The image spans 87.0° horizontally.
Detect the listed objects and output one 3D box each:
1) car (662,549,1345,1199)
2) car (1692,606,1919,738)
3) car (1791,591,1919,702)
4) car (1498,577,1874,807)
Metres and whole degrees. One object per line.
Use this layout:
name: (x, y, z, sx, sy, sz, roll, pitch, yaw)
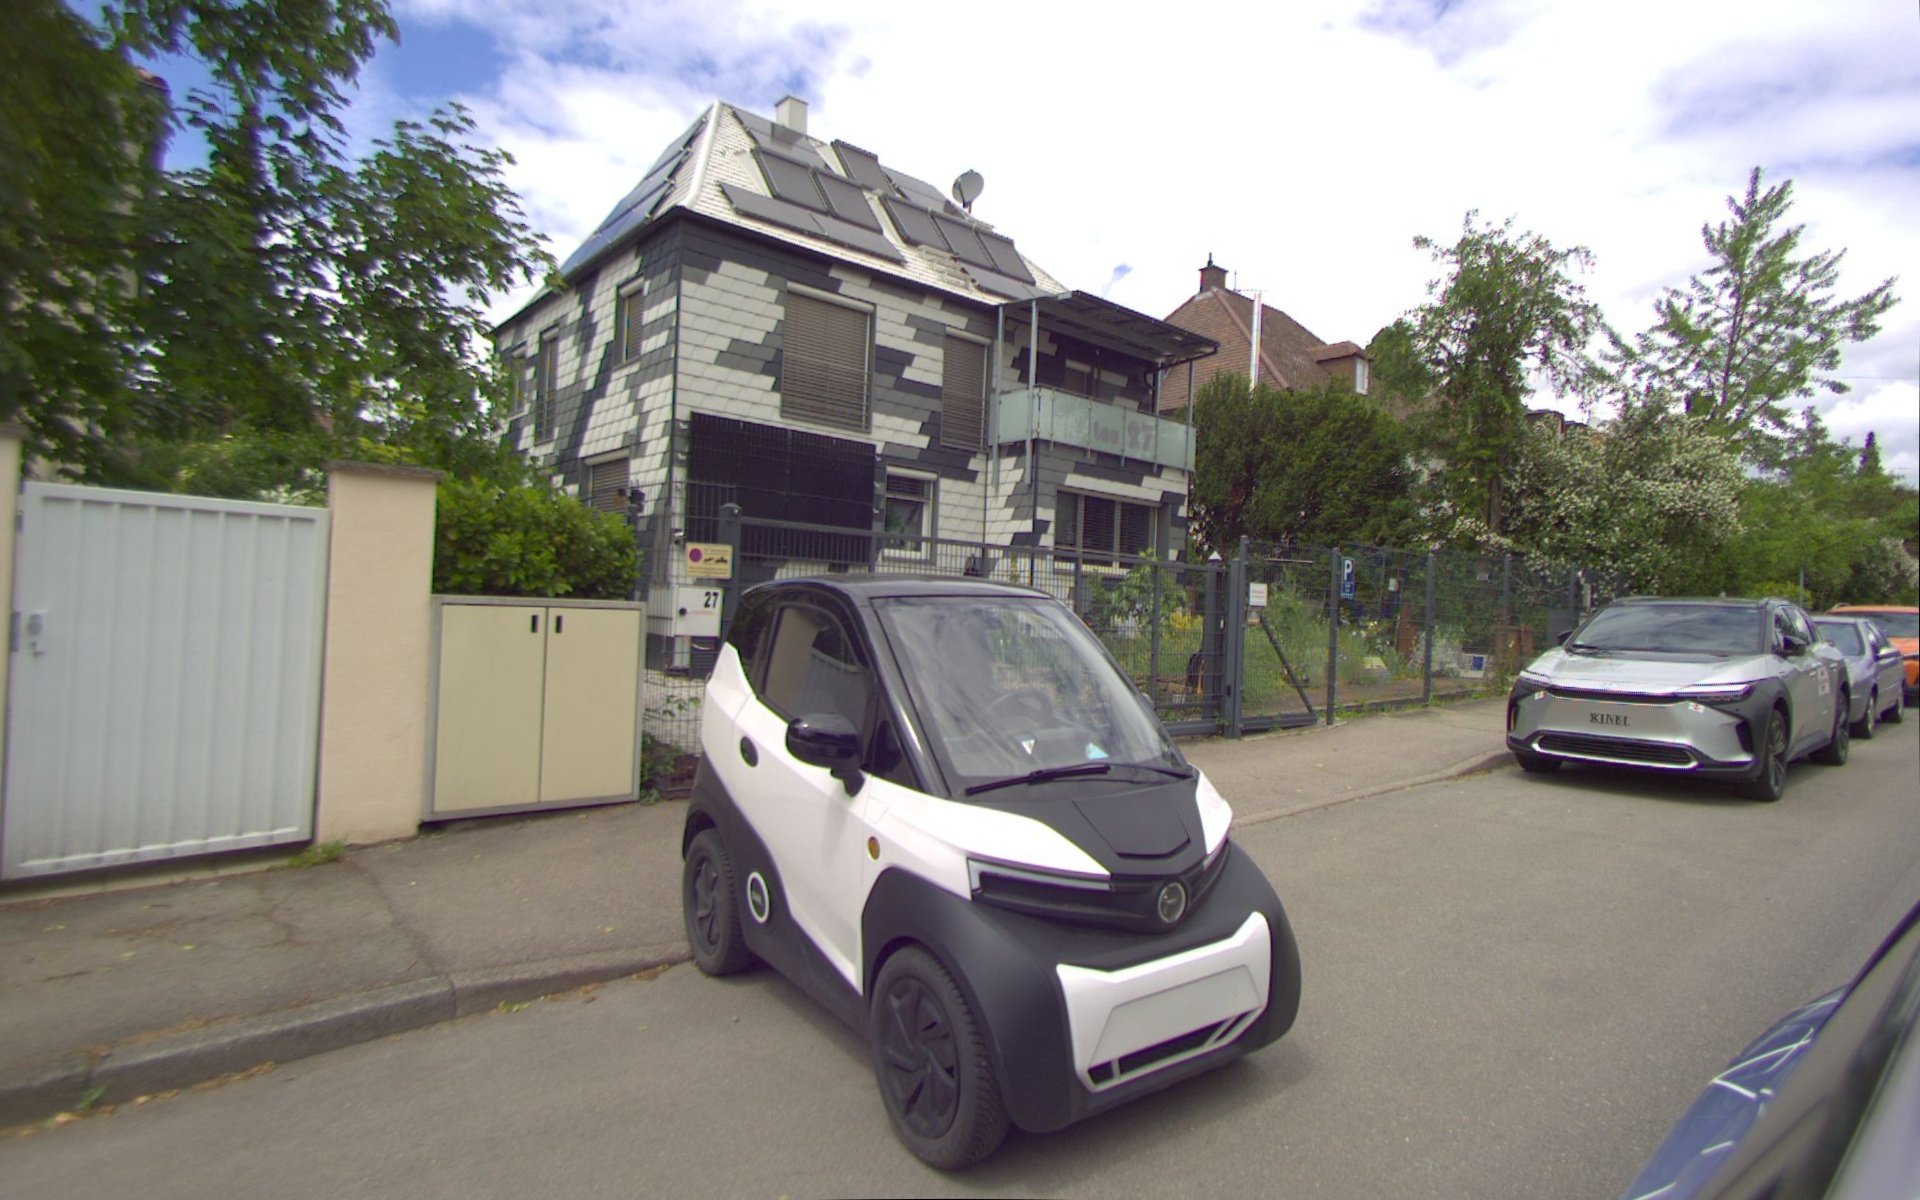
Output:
car: (-0.035, 0.636, 3.630, 1.293, 1.543, 2.295, 1, 0, -35)
car: (11.077, 0.797, 13.063, 4.161, 1.399, 1.719, 0, 0, -40)
car: (15.500, 0.699, 16.929, 4.097, 1.647, 1.853, 0, -1, -41)
car: (6.846, 0.648, 9.359, 4.413, 1.644, 1.833, 0, 0, -40)
